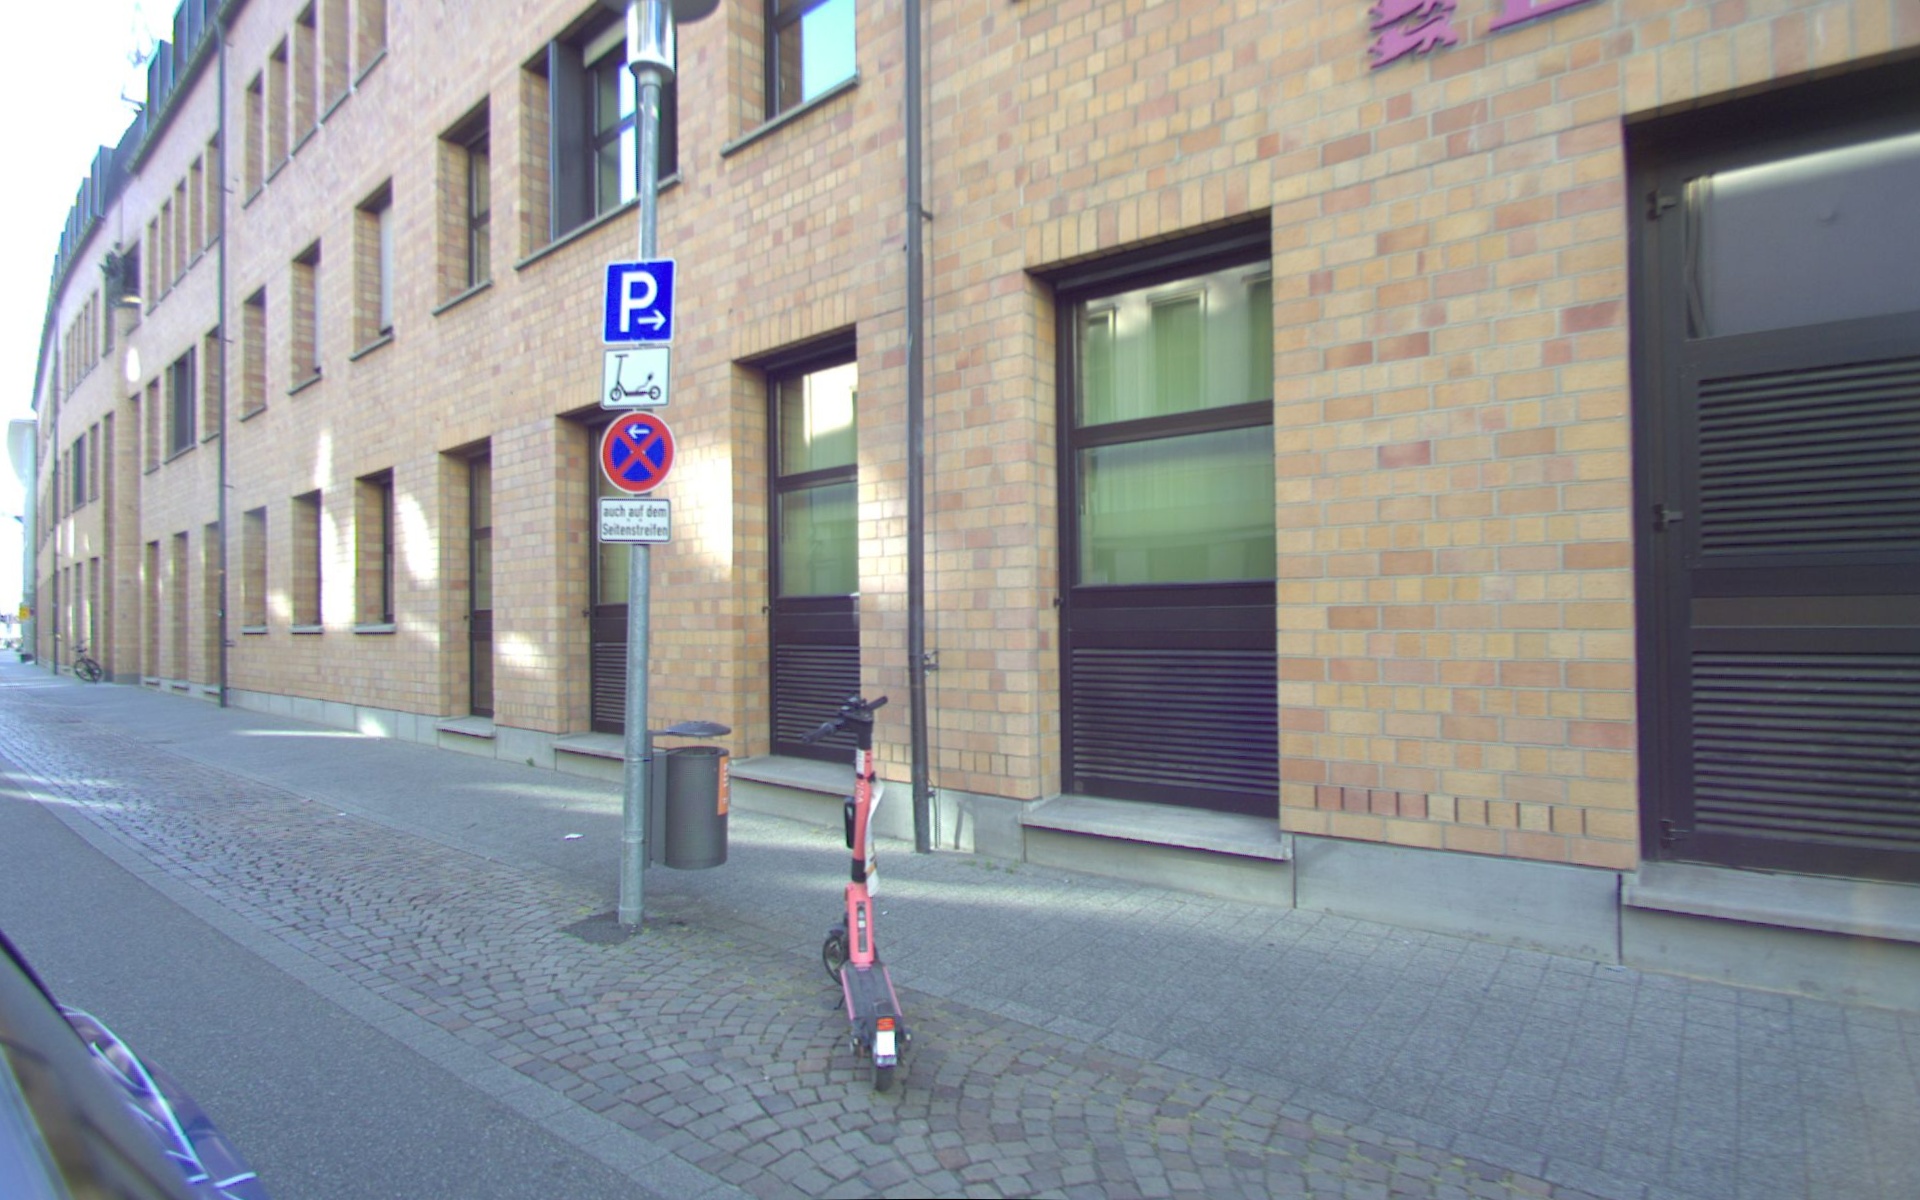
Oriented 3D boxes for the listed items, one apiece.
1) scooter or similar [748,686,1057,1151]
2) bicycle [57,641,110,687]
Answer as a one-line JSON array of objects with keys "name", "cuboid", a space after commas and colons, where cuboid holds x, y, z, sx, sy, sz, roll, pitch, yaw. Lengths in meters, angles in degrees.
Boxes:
[{"name": "scooter or similar", "cuboid": [-0.285, 0.964, 3.637, 0.688, 1.227, 1.361, 0, -2, -23]}, {"name": "bicycle", "cuboid": [-23.586, 1.715, 27.224, 1.800, 1.171, 0.626, -3, 1, 36]}]
